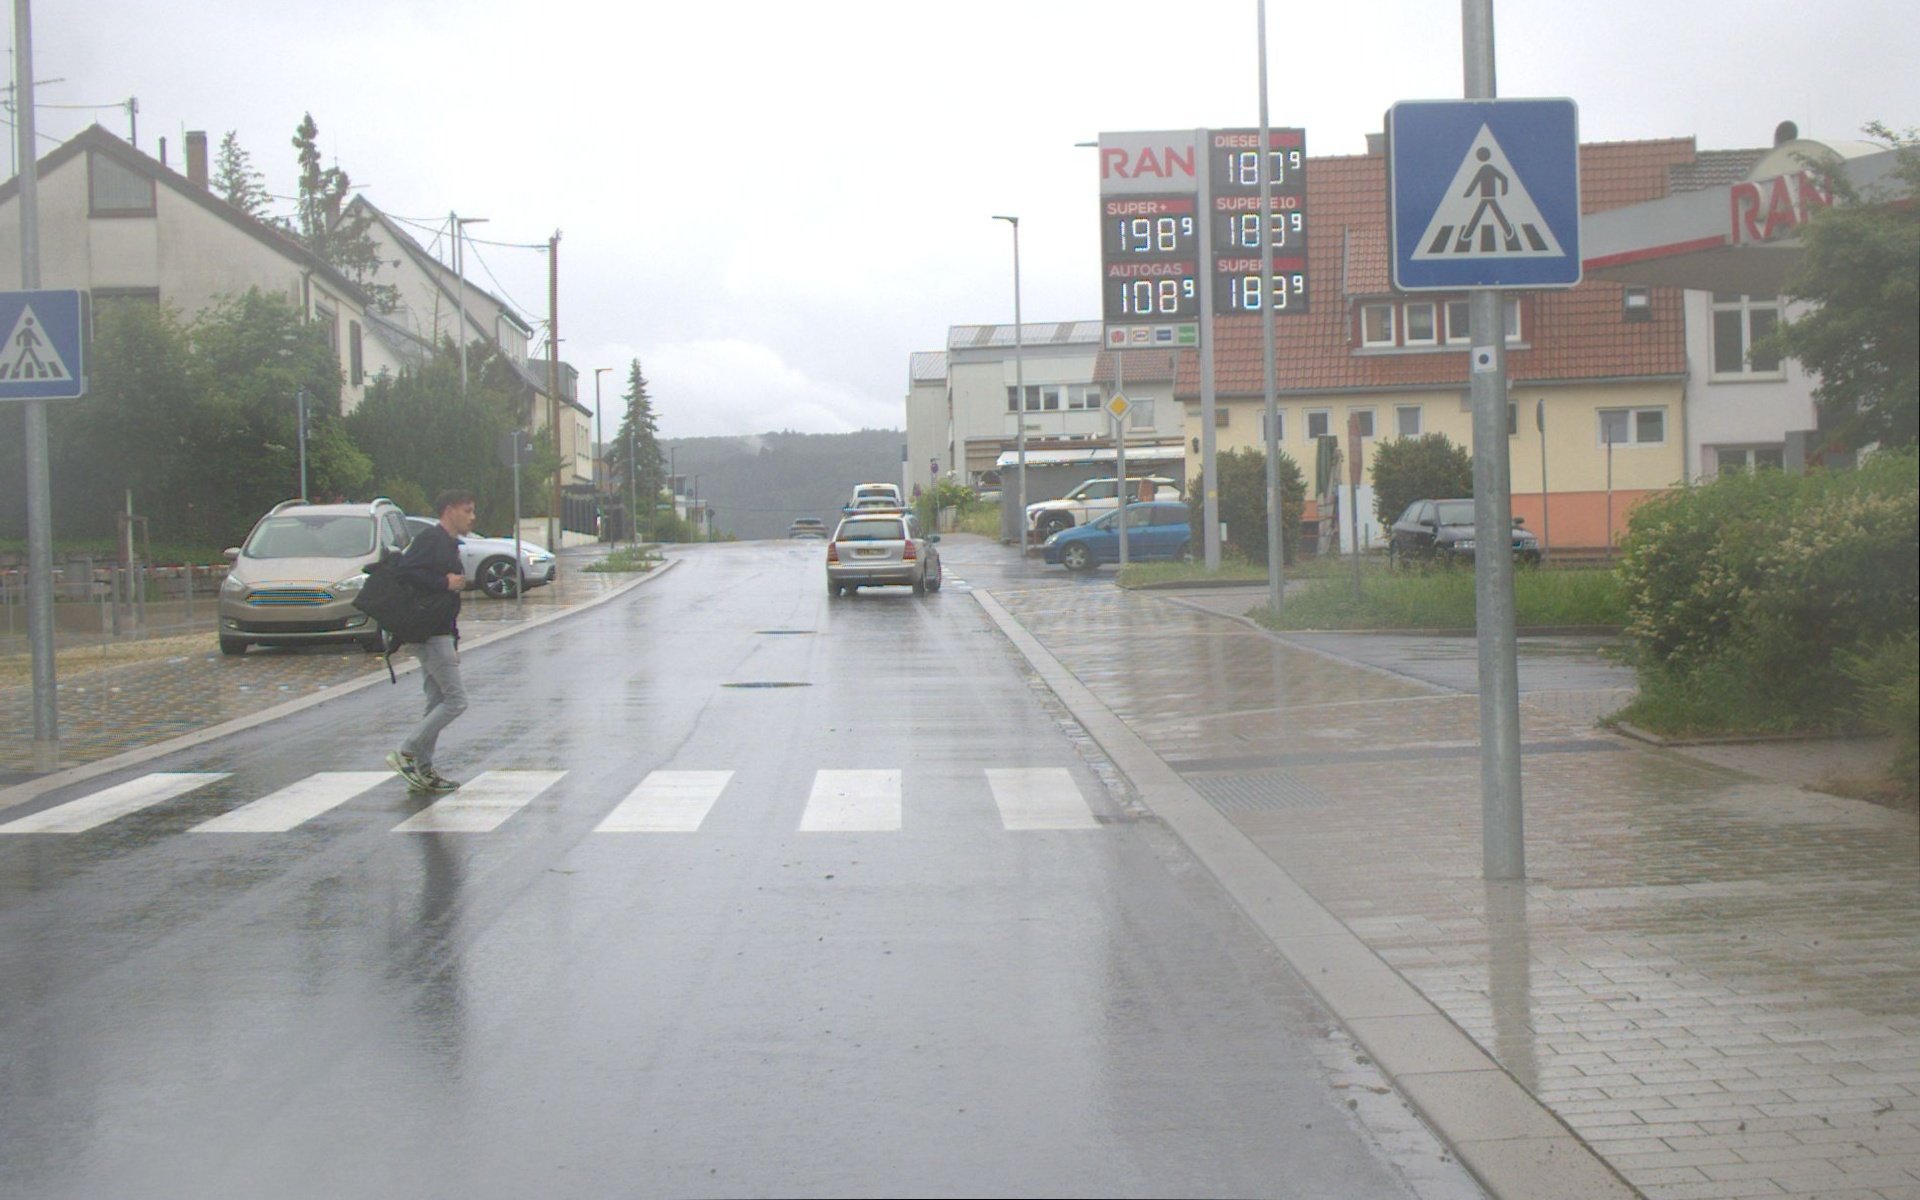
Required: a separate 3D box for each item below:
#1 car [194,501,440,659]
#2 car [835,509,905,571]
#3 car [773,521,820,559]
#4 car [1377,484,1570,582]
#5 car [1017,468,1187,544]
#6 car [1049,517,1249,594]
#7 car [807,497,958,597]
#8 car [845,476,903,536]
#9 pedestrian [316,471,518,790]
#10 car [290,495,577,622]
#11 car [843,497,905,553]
[{"bbox_3d":[-7.108,-0.268,38.417,1.993,1.623,4.154,-2,2,-1],"label":"car"},{"bbox_3d":[-2.701,-1.796,103.911,1.993,1.700,4.000,2,-1,-1],"label":"car"},{"bbox_3d":[-8.108,-2.971,171.170,2.154,1.700,4.000,2,-1,-1],"label":"car"},{"bbox_3d":[8.962,-1.152,60.293,1.993,1.547,4.001,3,-1,-12],"label":"car"},{"bbox_3d":[3.623,-2.403,88.180,4.112,1.700,1.789,2,-1,-4],"label":"car"},{"bbox_3d":[4.136,-0.959,74.995,3.990,1.488,1.856,2,-1,17],"label":"car"},{"bbox_3d":[-1.317,-0.903,60.251,1.949,1.550,3.998,2,-1,9],"label":"car"},{"bbox_3d":[-2.753,-3.012,110.652,1.782,1.700,4.000,2,-1,-1],"label":"car"},{"bbox_3d":[-2.998,0.157,19.065,1.013,1.718,0.772,-1,1,-3],"label":"pedestrian"},{"bbox_3d":[-9.280,-0.711,60.921,4.753,2.007,2.000,2,-1,-2],"label":"car"},{"bbox_3d":[-2.918,-2.519,116.871,1.993,1.700,4.000,2,-1,-1],"label":"car"}]
